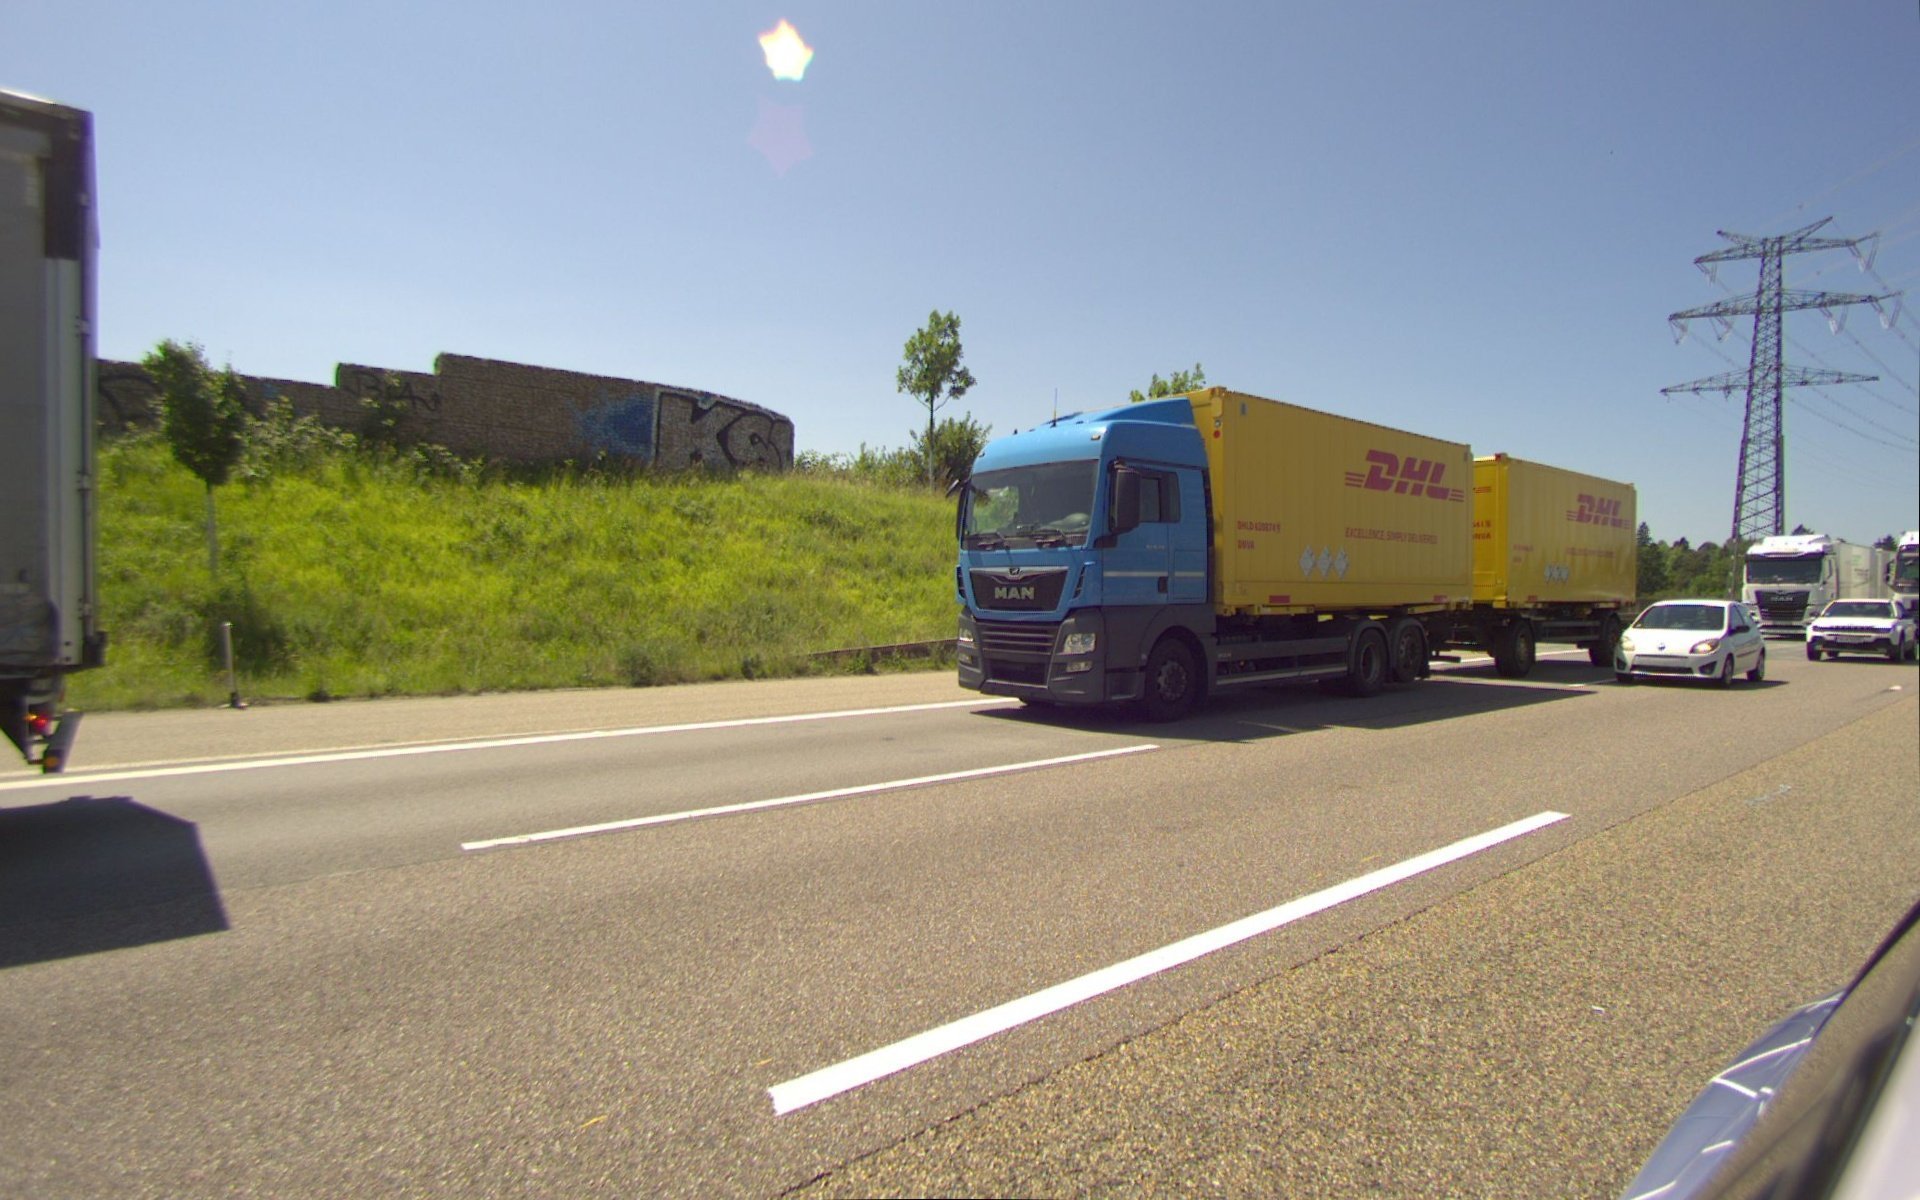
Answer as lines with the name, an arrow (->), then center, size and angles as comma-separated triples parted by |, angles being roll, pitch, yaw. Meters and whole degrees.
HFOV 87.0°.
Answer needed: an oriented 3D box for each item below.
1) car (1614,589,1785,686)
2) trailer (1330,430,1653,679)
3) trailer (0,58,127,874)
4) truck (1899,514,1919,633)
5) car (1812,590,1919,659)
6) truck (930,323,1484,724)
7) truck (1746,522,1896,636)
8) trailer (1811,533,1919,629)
car -> 13.230, 0.586, 18.042 | 3.759, 1.529, 1.658 | -1, 1, -41
trailer -> 11.335, -0.739, 20.978 | 9.212, 4.170, 2.770 | 1, 0, -41
trailer -> -10.525, -0.716, 2.106 | 13.510, 4.100, 2.968 | 0, 0, -41
truck -> 38.886, -0.913, 38.528 | 13.999, 4.090, 2.717 | 0, 0, -39
car -> 22.640, 0.547, 24.987 | 3.783, 1.549, 1.775 | -1, 1, -39
truck -> 4.214, -0.773, 14.766 | 9.778, 4.162, 2.770 | 1, 0, -41
truck -> 33.989, -0.759, 39.730 | 11.097, 3.980, 2.694 | 0, 0, -40
trailer -> 41.120, -0.805, 45.759 | 7.635, 3.991, 2.751 | 0, 0, -40
